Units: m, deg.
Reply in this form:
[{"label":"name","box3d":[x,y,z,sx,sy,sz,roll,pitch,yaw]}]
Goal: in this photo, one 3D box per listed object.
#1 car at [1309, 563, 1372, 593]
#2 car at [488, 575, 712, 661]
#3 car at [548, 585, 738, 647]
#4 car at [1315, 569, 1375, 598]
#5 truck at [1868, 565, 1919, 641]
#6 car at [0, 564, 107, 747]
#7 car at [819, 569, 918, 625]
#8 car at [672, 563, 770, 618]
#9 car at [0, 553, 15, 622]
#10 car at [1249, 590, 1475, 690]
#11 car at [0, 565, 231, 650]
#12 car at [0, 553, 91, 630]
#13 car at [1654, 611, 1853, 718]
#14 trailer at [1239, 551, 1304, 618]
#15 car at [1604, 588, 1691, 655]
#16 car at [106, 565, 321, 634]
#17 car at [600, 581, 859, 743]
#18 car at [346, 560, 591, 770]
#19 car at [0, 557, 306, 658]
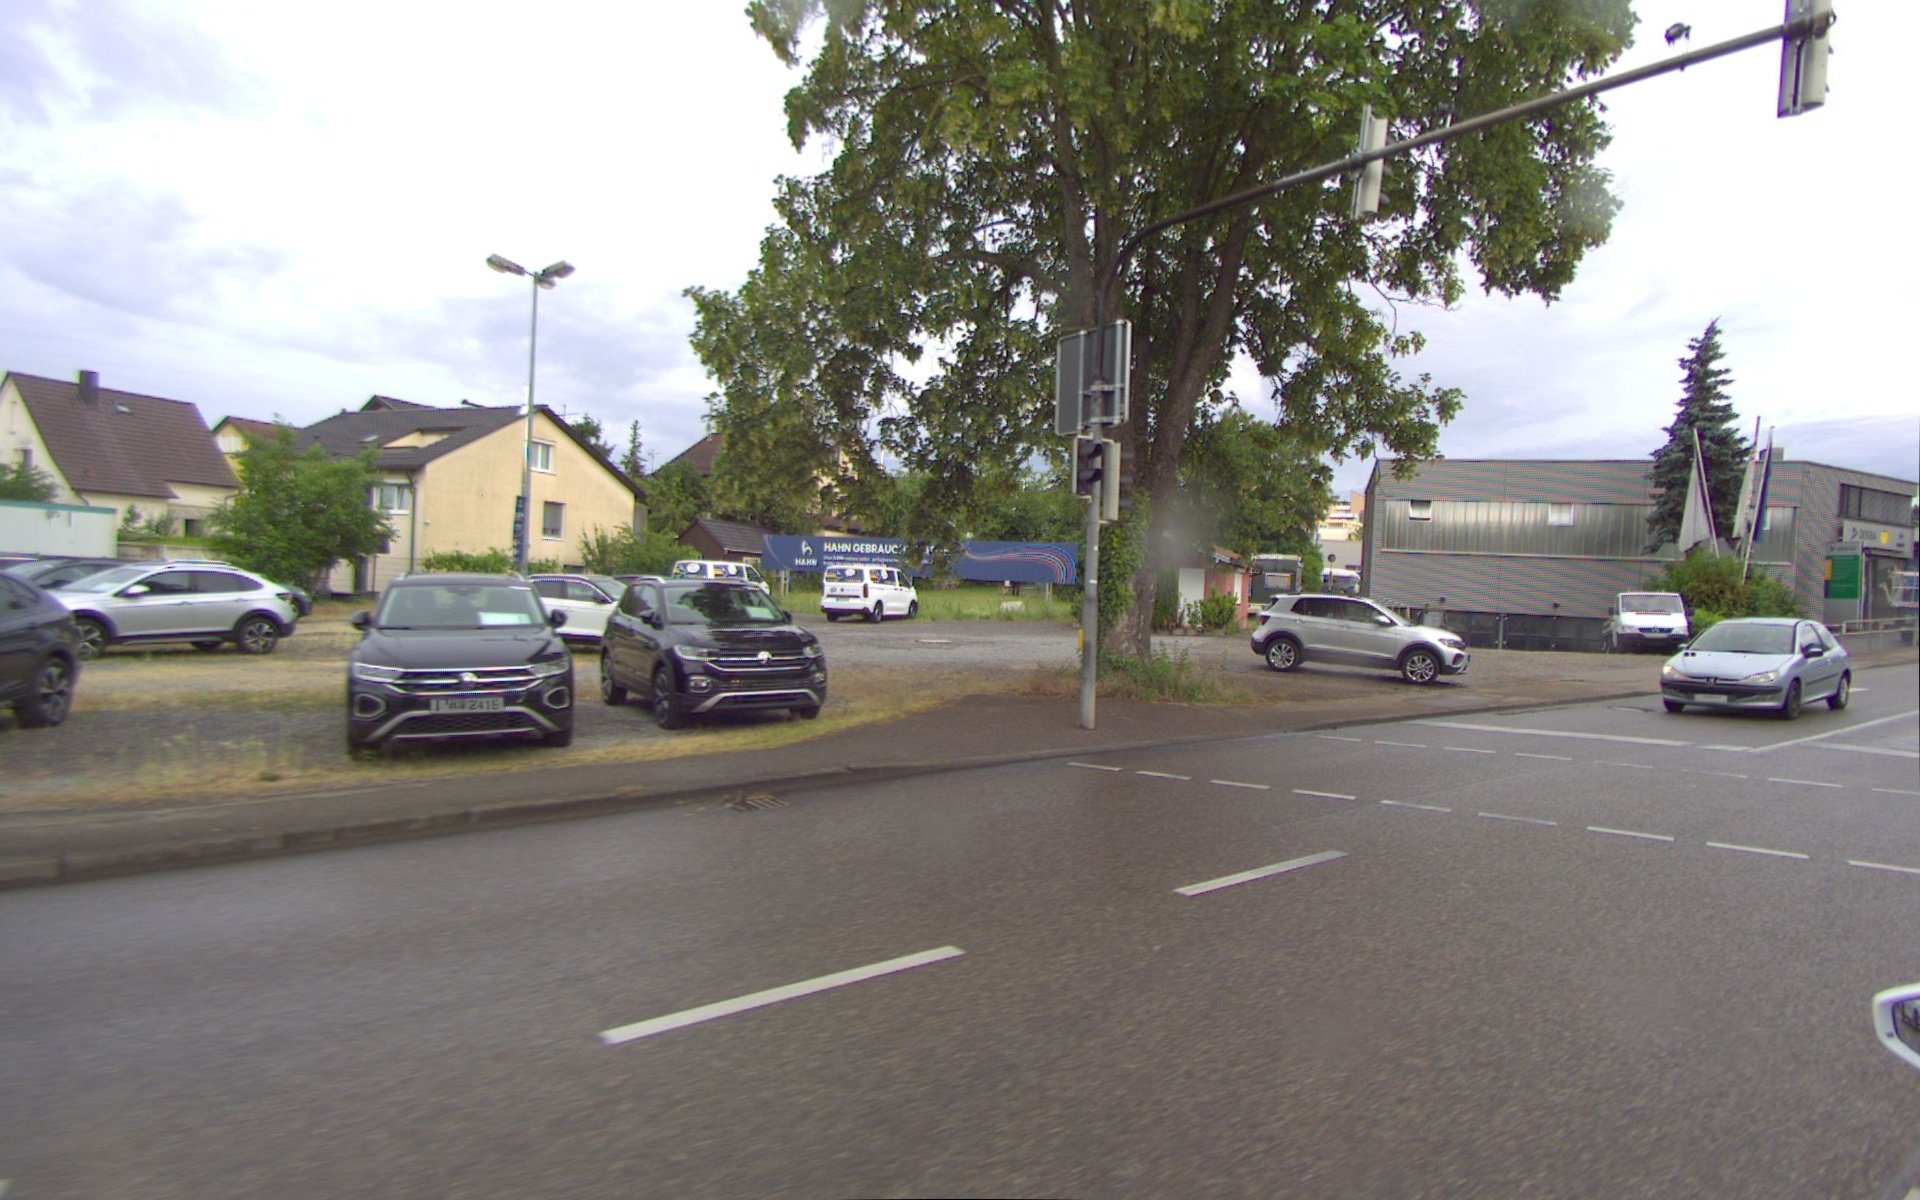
[{"label":"car","box3d":[31.513,-1.798,83.202,4.574,2.336,2.045,3,1,27]},{"label":"car","box3d":[-7.241,0.323,20.370,3.919,1.576,1.713,1,1,9]},{"label":"car","box3d":[-7.460,0.348,23.783,3.919,1.331,1.713,1,1,9]},{"label":"car","box3d":[33.369,-1.403,87.020,4.574,2.336,2.237,3,1,27]},{"label":"truck","box3d":[34.743,0.093,35.650,5.489,2.573,1.985,0,2,-28]},{"label":"car","box3d":[-8.692,0.460,7.761,1.729,1.510,3.968,0,0,-17]},{"label":"car","box3d":[-3.252,-0.156,36.716,1.960,1.896,4.451,1,1,19]},{"label":"car","box3d":[-9.103,-0.390,38.613,1.689,2.000,4.193,1,1,19]},{"label":"car","box3d":[-21.497,-0.256,19.975,1.562,1.447,3.639,2,1,27]},{"label":"car","box3d":[7.985,0.718,20.102,3.924,1.542,1.758,5,3,24]},{"label":"car","box3d":[-15.868,0.084,18.584,1.488,1.393,3.644,1,1,19]},{"label":"car","box3d":[-18.860,-0.176,18.785,1.560,1.447,3.644,1,1,19]},{"label":"car","box3d":[12.568,0.925,15.848,3.673,1.423,1.575,0,2,-37]},{"label":"trailer","box3d":[14.162,-0.709,45.650,2.566,2.800,5.027,2,1,18]},{"label":"car","box3d":[22.701,0.650,33.297,1.964,2.021,3.992,2,2,29]},{"label":"car","box3d":[-18.599,-0.060,25.222,1.721,1.573,3.993,2,1,28]},{"label":"car","box3d":[-2.873,0.568,11.845,1.738,1.530,3.963,0,1,-33]},{"label":"car","box3d":[-4.766,0.496,9.698,1.735,1.576,3.970,0,0,-28]},{"label":"car","box3d":[-13.410,0.180,16.861,1.561,1.483,3.770,1,-2,26]}]
